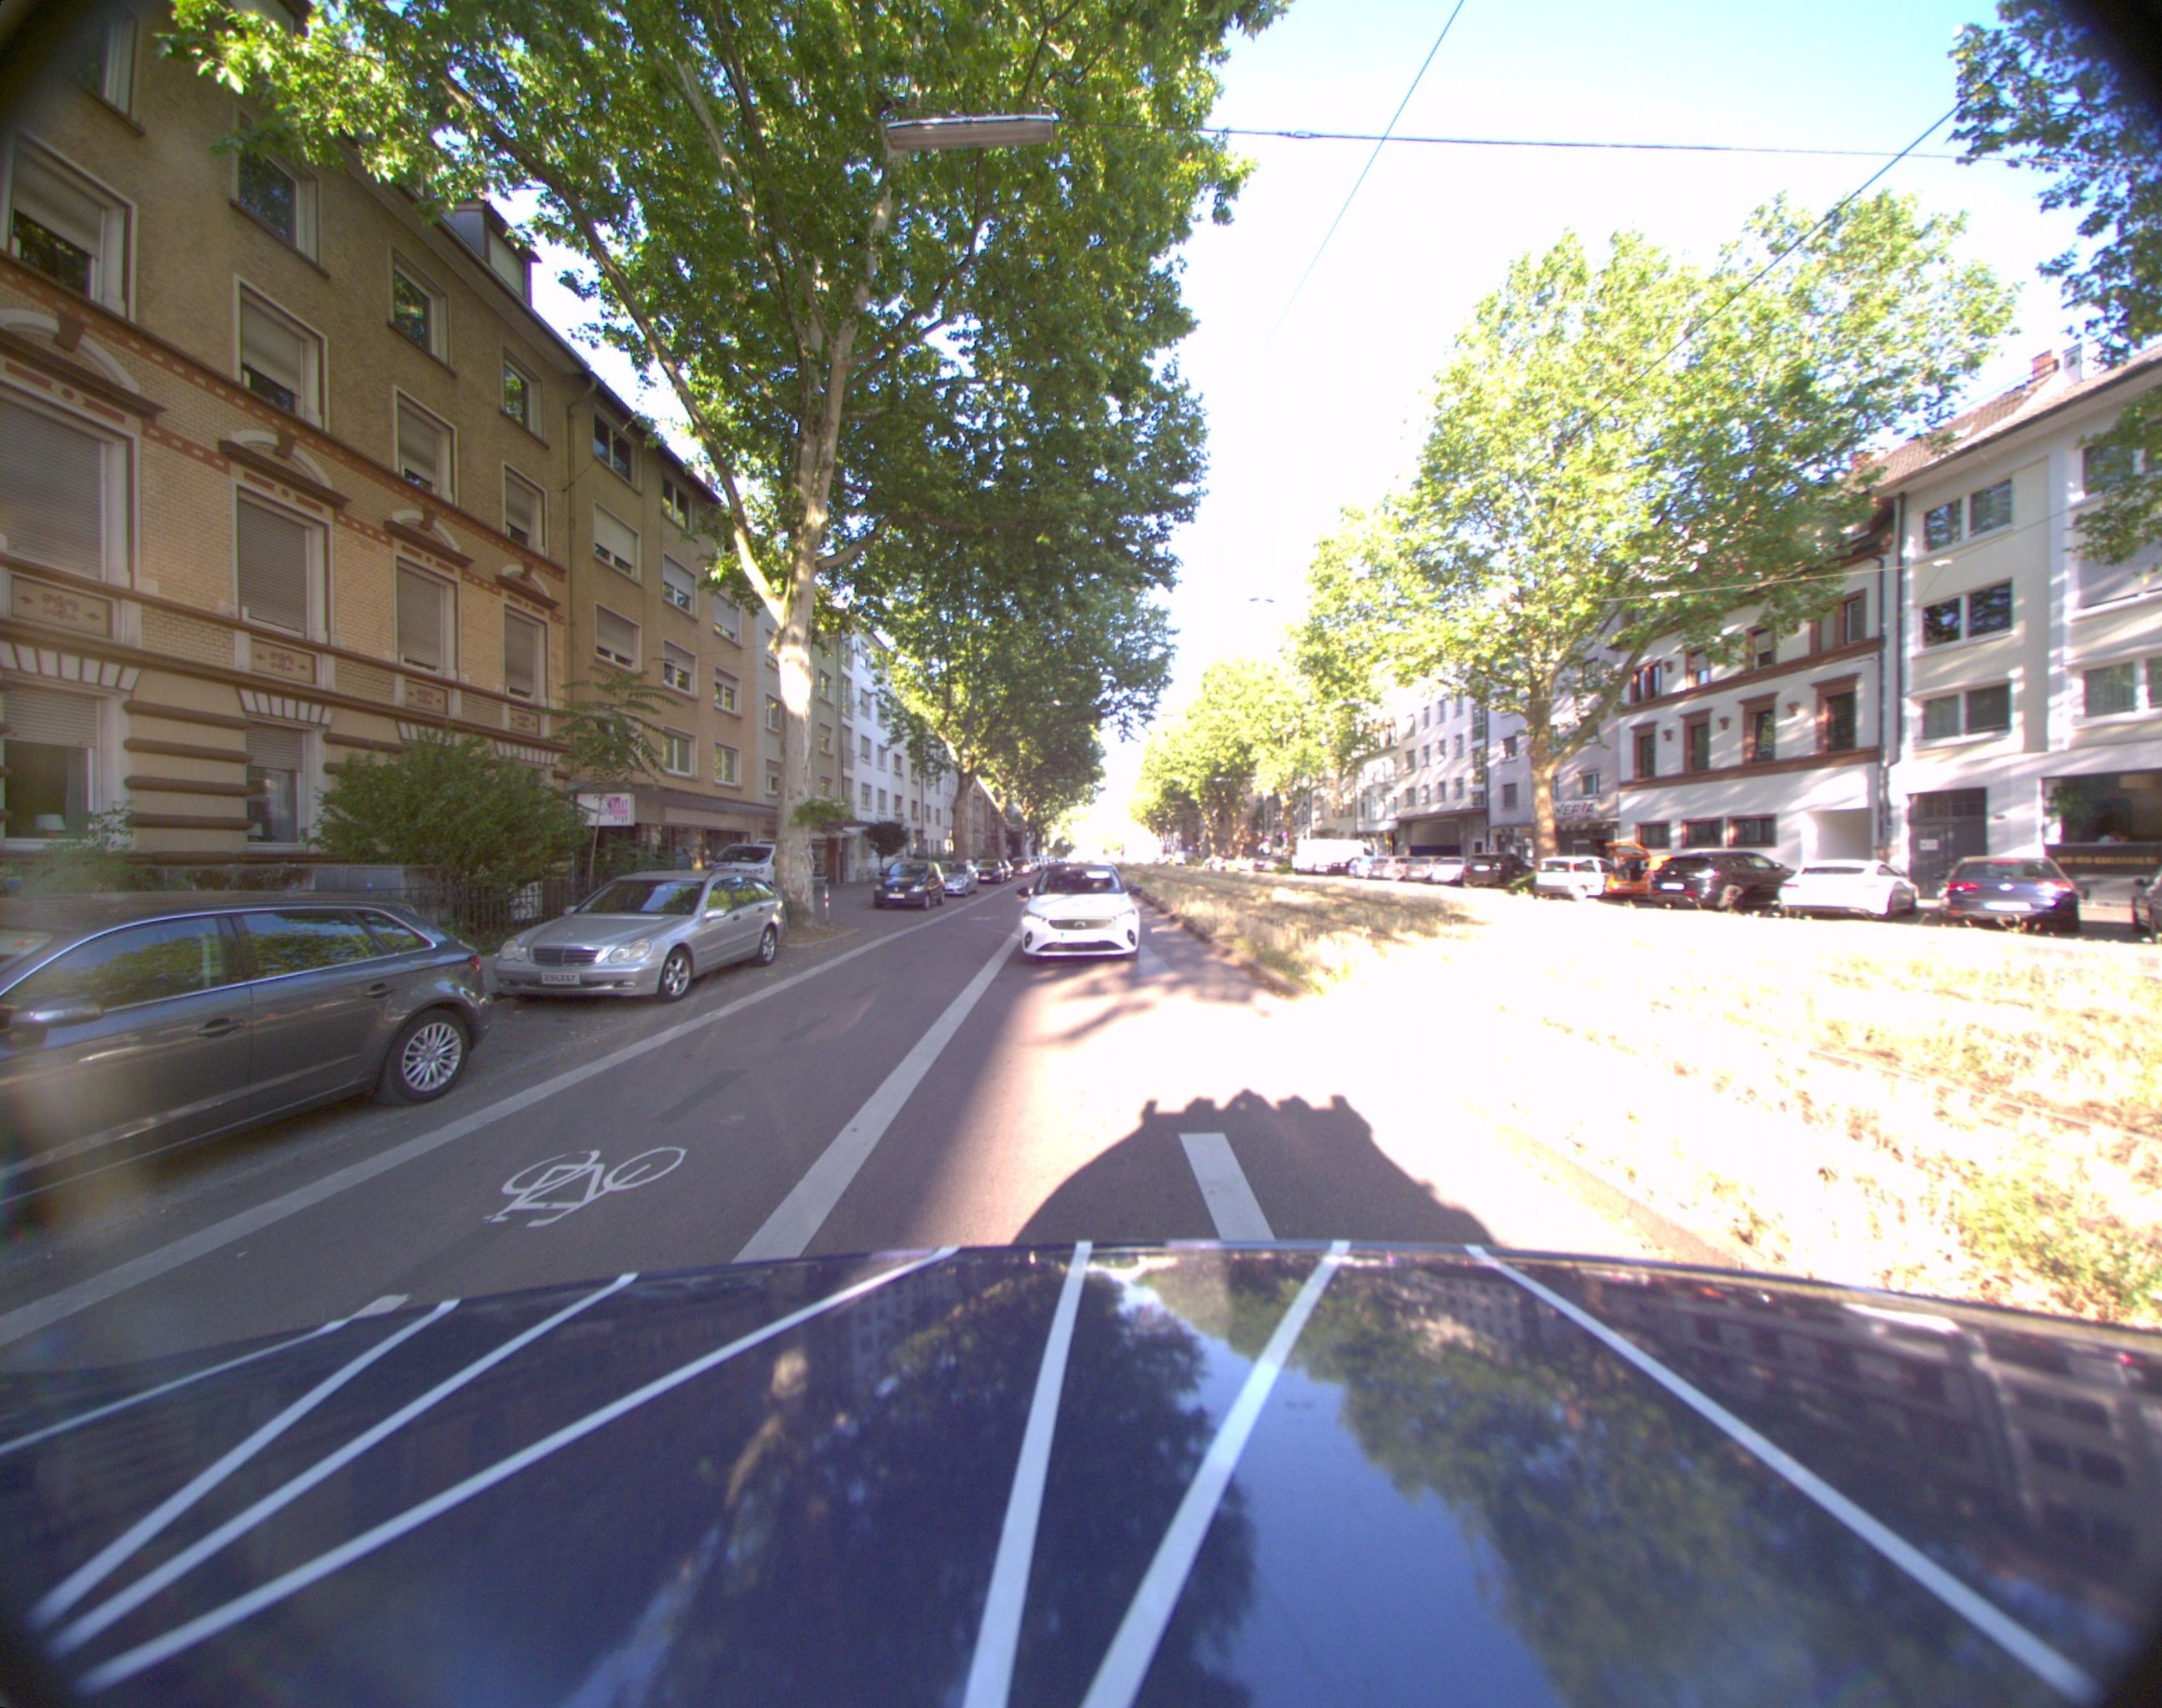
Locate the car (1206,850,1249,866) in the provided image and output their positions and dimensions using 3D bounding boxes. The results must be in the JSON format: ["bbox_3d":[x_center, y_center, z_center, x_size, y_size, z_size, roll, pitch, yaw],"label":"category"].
[{"bbox_3d":[16.030,0.431,83.442,4.234,1.696,1.999,0,0,-4],"label":"car"}]

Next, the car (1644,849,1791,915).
[{"bbox_3d":[18.219,0.723,21.722,4.265,1.674,2.147,-1,1,-34],"label":"car"}]

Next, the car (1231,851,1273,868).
[{"bbox_3d":[18.353,0.554,81.505,4.005,1.696,1.995,-1,1,-27],"label":"car"}]

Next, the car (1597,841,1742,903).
[{"bbox_3d":[19.481,0.547,25.166,4.260,1.932,1.514,0,1,-15],"label":"car"}]

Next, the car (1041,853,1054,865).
[{"bbox_3d":[-4.846,0.704,110.112,1.803,1.598,3.702,2,0,-1],"label":"car"}]

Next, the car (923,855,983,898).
[{"bbox_3d":[-5.342,0.892,32.244,1.803,1.599,4.369,2,0,-1],"label":"car"}]

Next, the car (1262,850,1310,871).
[{"bbox_3d":[18.825,0.561,69.751,4.005,1.805,1.995,-1,1,-27],"label":"car"}]

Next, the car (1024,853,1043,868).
[{"bbox_3d":[-5.386,0.721,86.645,1.803,1.599,4.104,2,0,-1],"label":"car"}]

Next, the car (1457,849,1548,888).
[{"bbox_3d":[18.936,0.606,34.108,4.265,1.605,1.902,-1,1,-35],"label":"car"}]

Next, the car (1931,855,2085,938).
[{"bbox_3d":[19.305,0.786,15.988,3.979,1.495,1.827,-1,1,-42],"label":"car"}]

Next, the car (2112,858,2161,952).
[{"bbox_3d":[19.047,0.803,12.686,3.979,1.424,1.738,-1,-1,-42],"label":"car"}]

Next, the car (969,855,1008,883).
[{"bbox_3d":[-5.466,0.870,45.396,1.803,1.494,4.369,2,0,-1],"label":"car"}]

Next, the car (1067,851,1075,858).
[{"bbox_3d":[-2.887,0.133,215.250,1.998,2.002,3.999,-2,1,0],"label":"car"}]

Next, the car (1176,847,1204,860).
[{"bbox_3d":[18.714,-0.054,130.004,4.952,2.200,2.096,-1,1,-42],"label":"car"}]

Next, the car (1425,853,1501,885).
[{"bbox_3d":[18.969,0.699,37.677,4.265,1.451,1.598,-1,1,-36],"label":"car"}]

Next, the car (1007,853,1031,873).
[{"bbox_3d":[-5.366,0.772,66.251,1.803,1.599,4.104,2,0,-1],"label":"car"}]

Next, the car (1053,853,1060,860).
[{"bbox_3d":[-7.552,0.839,233.672,1.998,2.002,4.000,-2,1,1],"label":"car"}]

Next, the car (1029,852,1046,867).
[{"bbox_3d":[-5.268,0.682,92.993,1.803,1.742,4.104,2,0,-1],"label":"car"}]

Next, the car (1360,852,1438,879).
[{"bbox_3d":[18.876,0.650,45.149,4.004,1.509,1.996,-1,0,-20],"label":"car"}]

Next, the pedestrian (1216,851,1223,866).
[{"bbox_3d":[15.040,0.490,82.534,0.620,1.588,0.422,0,1,1],"label":"pedestrian"}]

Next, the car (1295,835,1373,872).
[{"bbox_3d":[19.186,-0.046,57.580,5.619,2.684,2.176,-1,1,-24],"label":"car"}]

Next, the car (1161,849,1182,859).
[{"bbox_3d":[18.311,-0.002,153.725,3.994,1.802,1.874,0,1,10],"label":"car"}]

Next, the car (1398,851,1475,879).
[{"bbox_3d":[19.203,0.558,40.952,4.265,1.449,1.902,-1,1,-36],"label":"car"}]

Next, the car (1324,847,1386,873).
[{"bbox_3d":[19.757,0.431,54.864,4.005,1.805,1.995,-1,1,-27],"label":"car"}]

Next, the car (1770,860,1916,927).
[{"bbox_3d":[18.503,0.849,18.392,4.266,1.369,2.147,-1,0,-40],"label":"car"}]

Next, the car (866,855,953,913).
[{"bbox_3d":[-5.410,0.886,24.468,1.803,1.599,4.369,2,0,-1],"label":"car"}]

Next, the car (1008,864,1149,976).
[{"bbox_3d":[-0.052,0.920,12.232,1.865,1.394,3.931,-2,0,0],"label":"car"}]

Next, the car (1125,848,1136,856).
[{"bbox_3d":[15.271,-0.568,233.099,2.963,2.407,6.327,-2,1,1],"label":"car"}]

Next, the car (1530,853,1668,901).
[{"bbox_3d":[18.137,0.773,26.638,4.260,1.548,1.641,0,1,-15],"label":"car"}]

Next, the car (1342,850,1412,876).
[{"bbox_3d":[18.787,0.536,48.276,4.005,1.608,1.995,-1,1,-27],"label":"car"}]

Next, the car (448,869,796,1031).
[{"bbox_3d":[-5.387,0.997,9.778,1.803,1.446,4.511,2,0,-1],"label":"car"}]

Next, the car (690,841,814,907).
[{"bbox_3d":[-10.377,0.579,24.373,1.933,1.864,4.677,2,0,-1],"label":"car"}]

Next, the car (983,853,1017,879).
[{"bbox_3d":[-5.392,0.789,50.974,1.803,1.599,4.369,2,0,-1],"label":"car"}]

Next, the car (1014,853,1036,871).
[{"bbox_3d":[-5.433,0.755,73.526,1.803,1.599,4.104,2,0,-1],"label":"car"}]

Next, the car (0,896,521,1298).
[{"bbox_3d":[-5.204,1.054,3.607,1.802,1.393,4.370,2,0,1],"label":"car"}]

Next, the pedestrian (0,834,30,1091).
[{"bbox_3d":[-7.489,0.712,4.743,0.728,1.701,0.816,2,1,0],"label":"pedestrian"}]

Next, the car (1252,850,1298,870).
[{"bbox_3d":[18.648,0.551,73.024,4.005,1.805,1.995,-1,1,-27],"label":"car"}]
